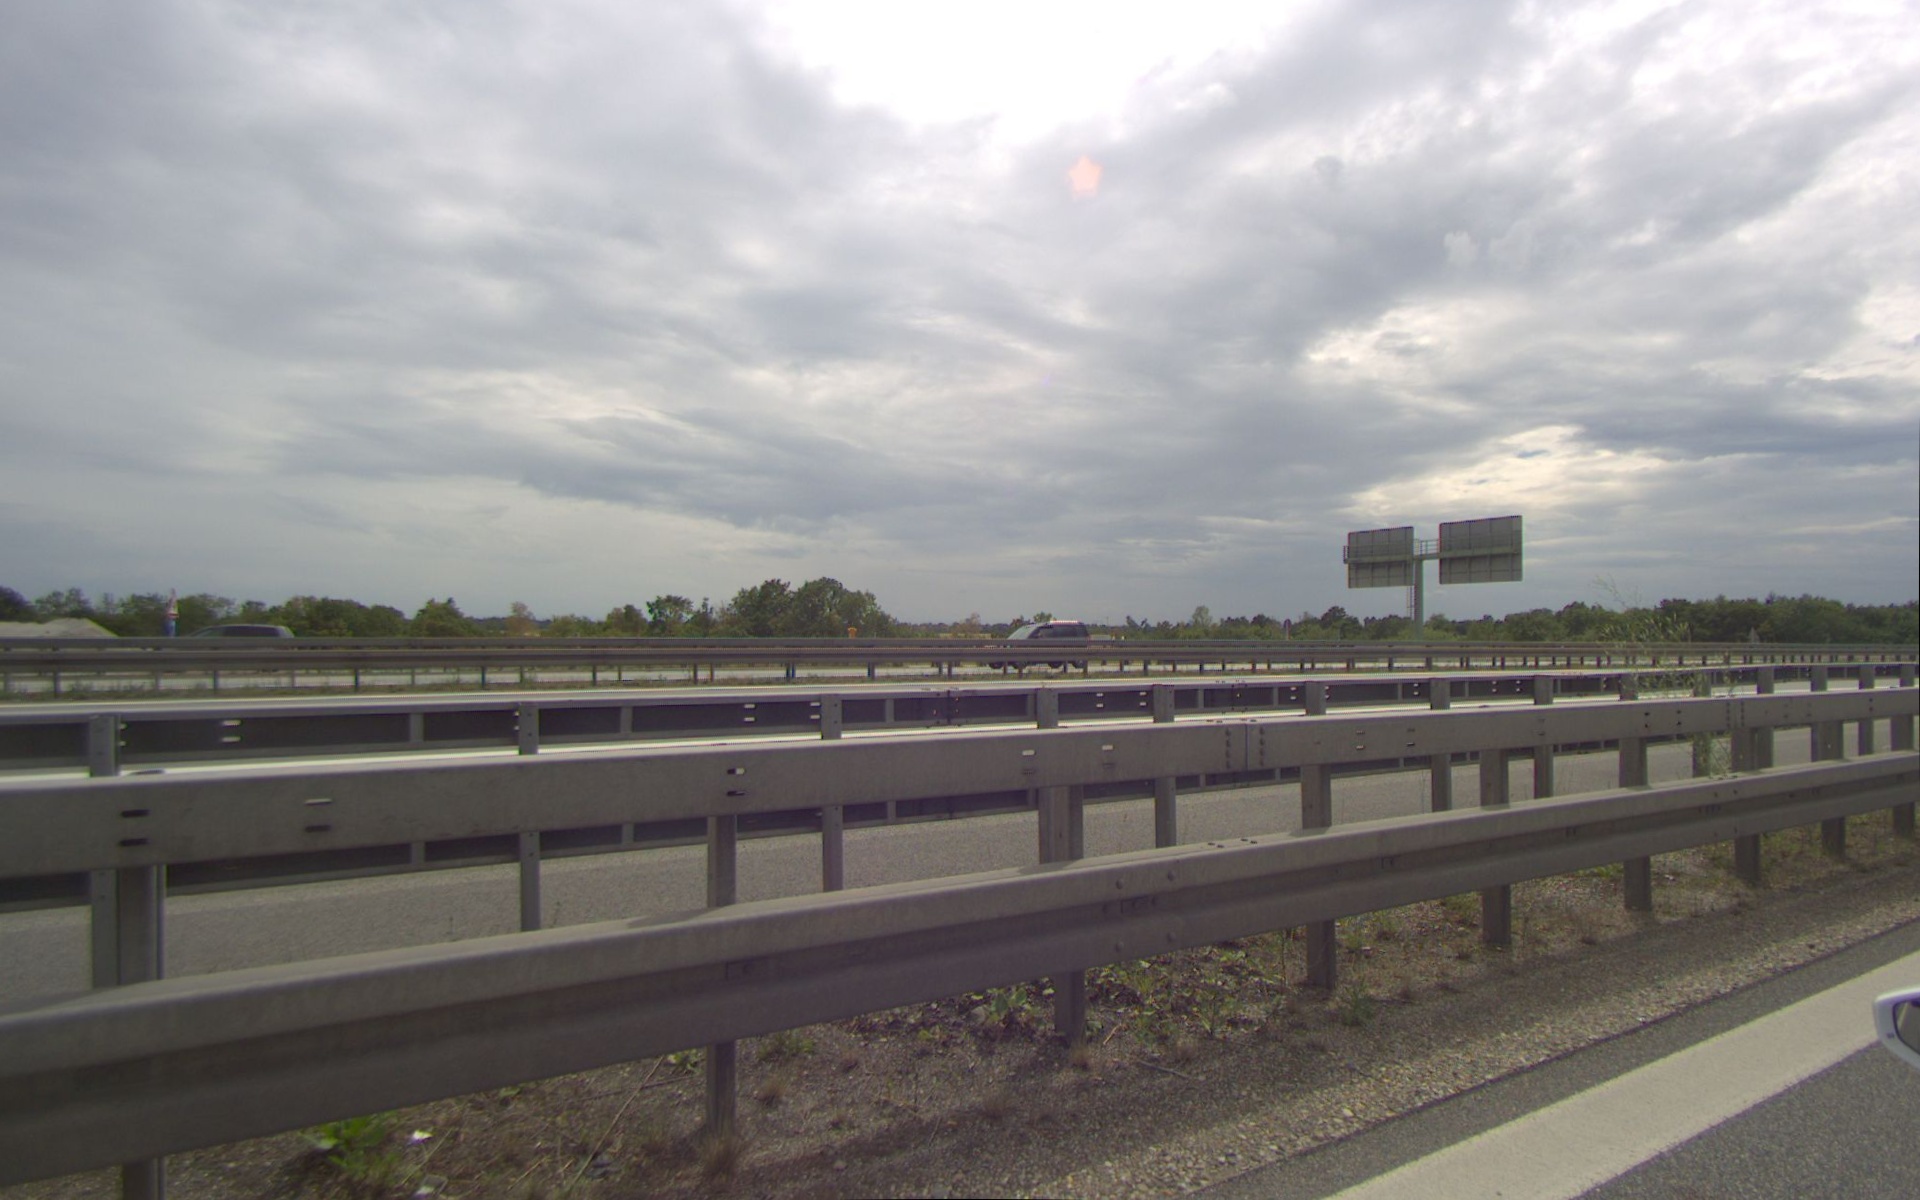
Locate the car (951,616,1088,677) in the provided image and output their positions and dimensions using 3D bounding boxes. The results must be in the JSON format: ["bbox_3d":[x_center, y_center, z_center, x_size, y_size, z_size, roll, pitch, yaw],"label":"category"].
[{"bbox_3d":[2.136,1.598,35.590,4.451,1.888,1.984,1,3,-30],"label":"car"}]
